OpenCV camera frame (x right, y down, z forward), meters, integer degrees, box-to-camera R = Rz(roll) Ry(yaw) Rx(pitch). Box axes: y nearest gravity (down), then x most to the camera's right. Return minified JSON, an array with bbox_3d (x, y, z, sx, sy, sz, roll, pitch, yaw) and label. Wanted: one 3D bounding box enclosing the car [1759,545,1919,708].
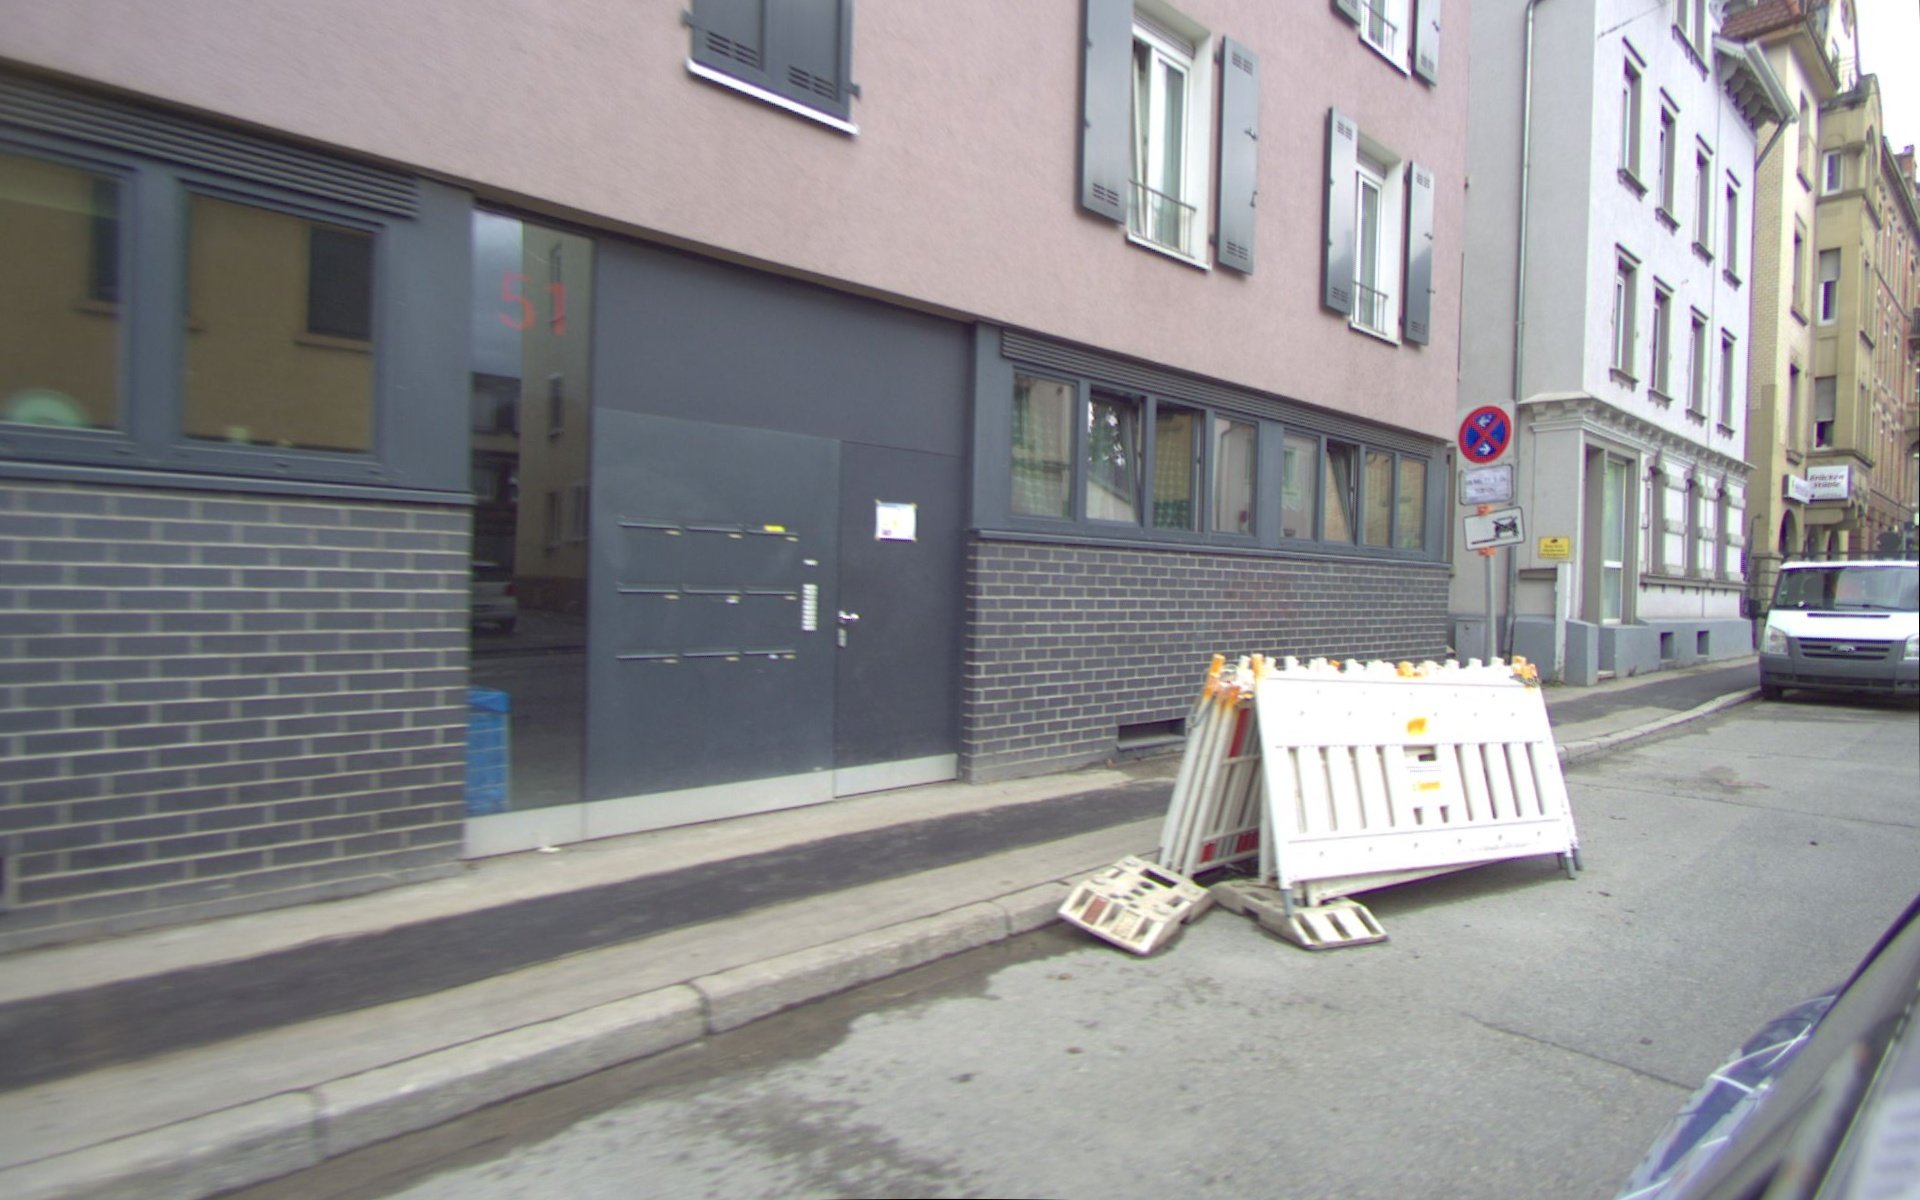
[{"bbox_3d":[13.251,0.282,14.562,4.795,2.006,1.996,-1,2,-43],"label":"car"}]
